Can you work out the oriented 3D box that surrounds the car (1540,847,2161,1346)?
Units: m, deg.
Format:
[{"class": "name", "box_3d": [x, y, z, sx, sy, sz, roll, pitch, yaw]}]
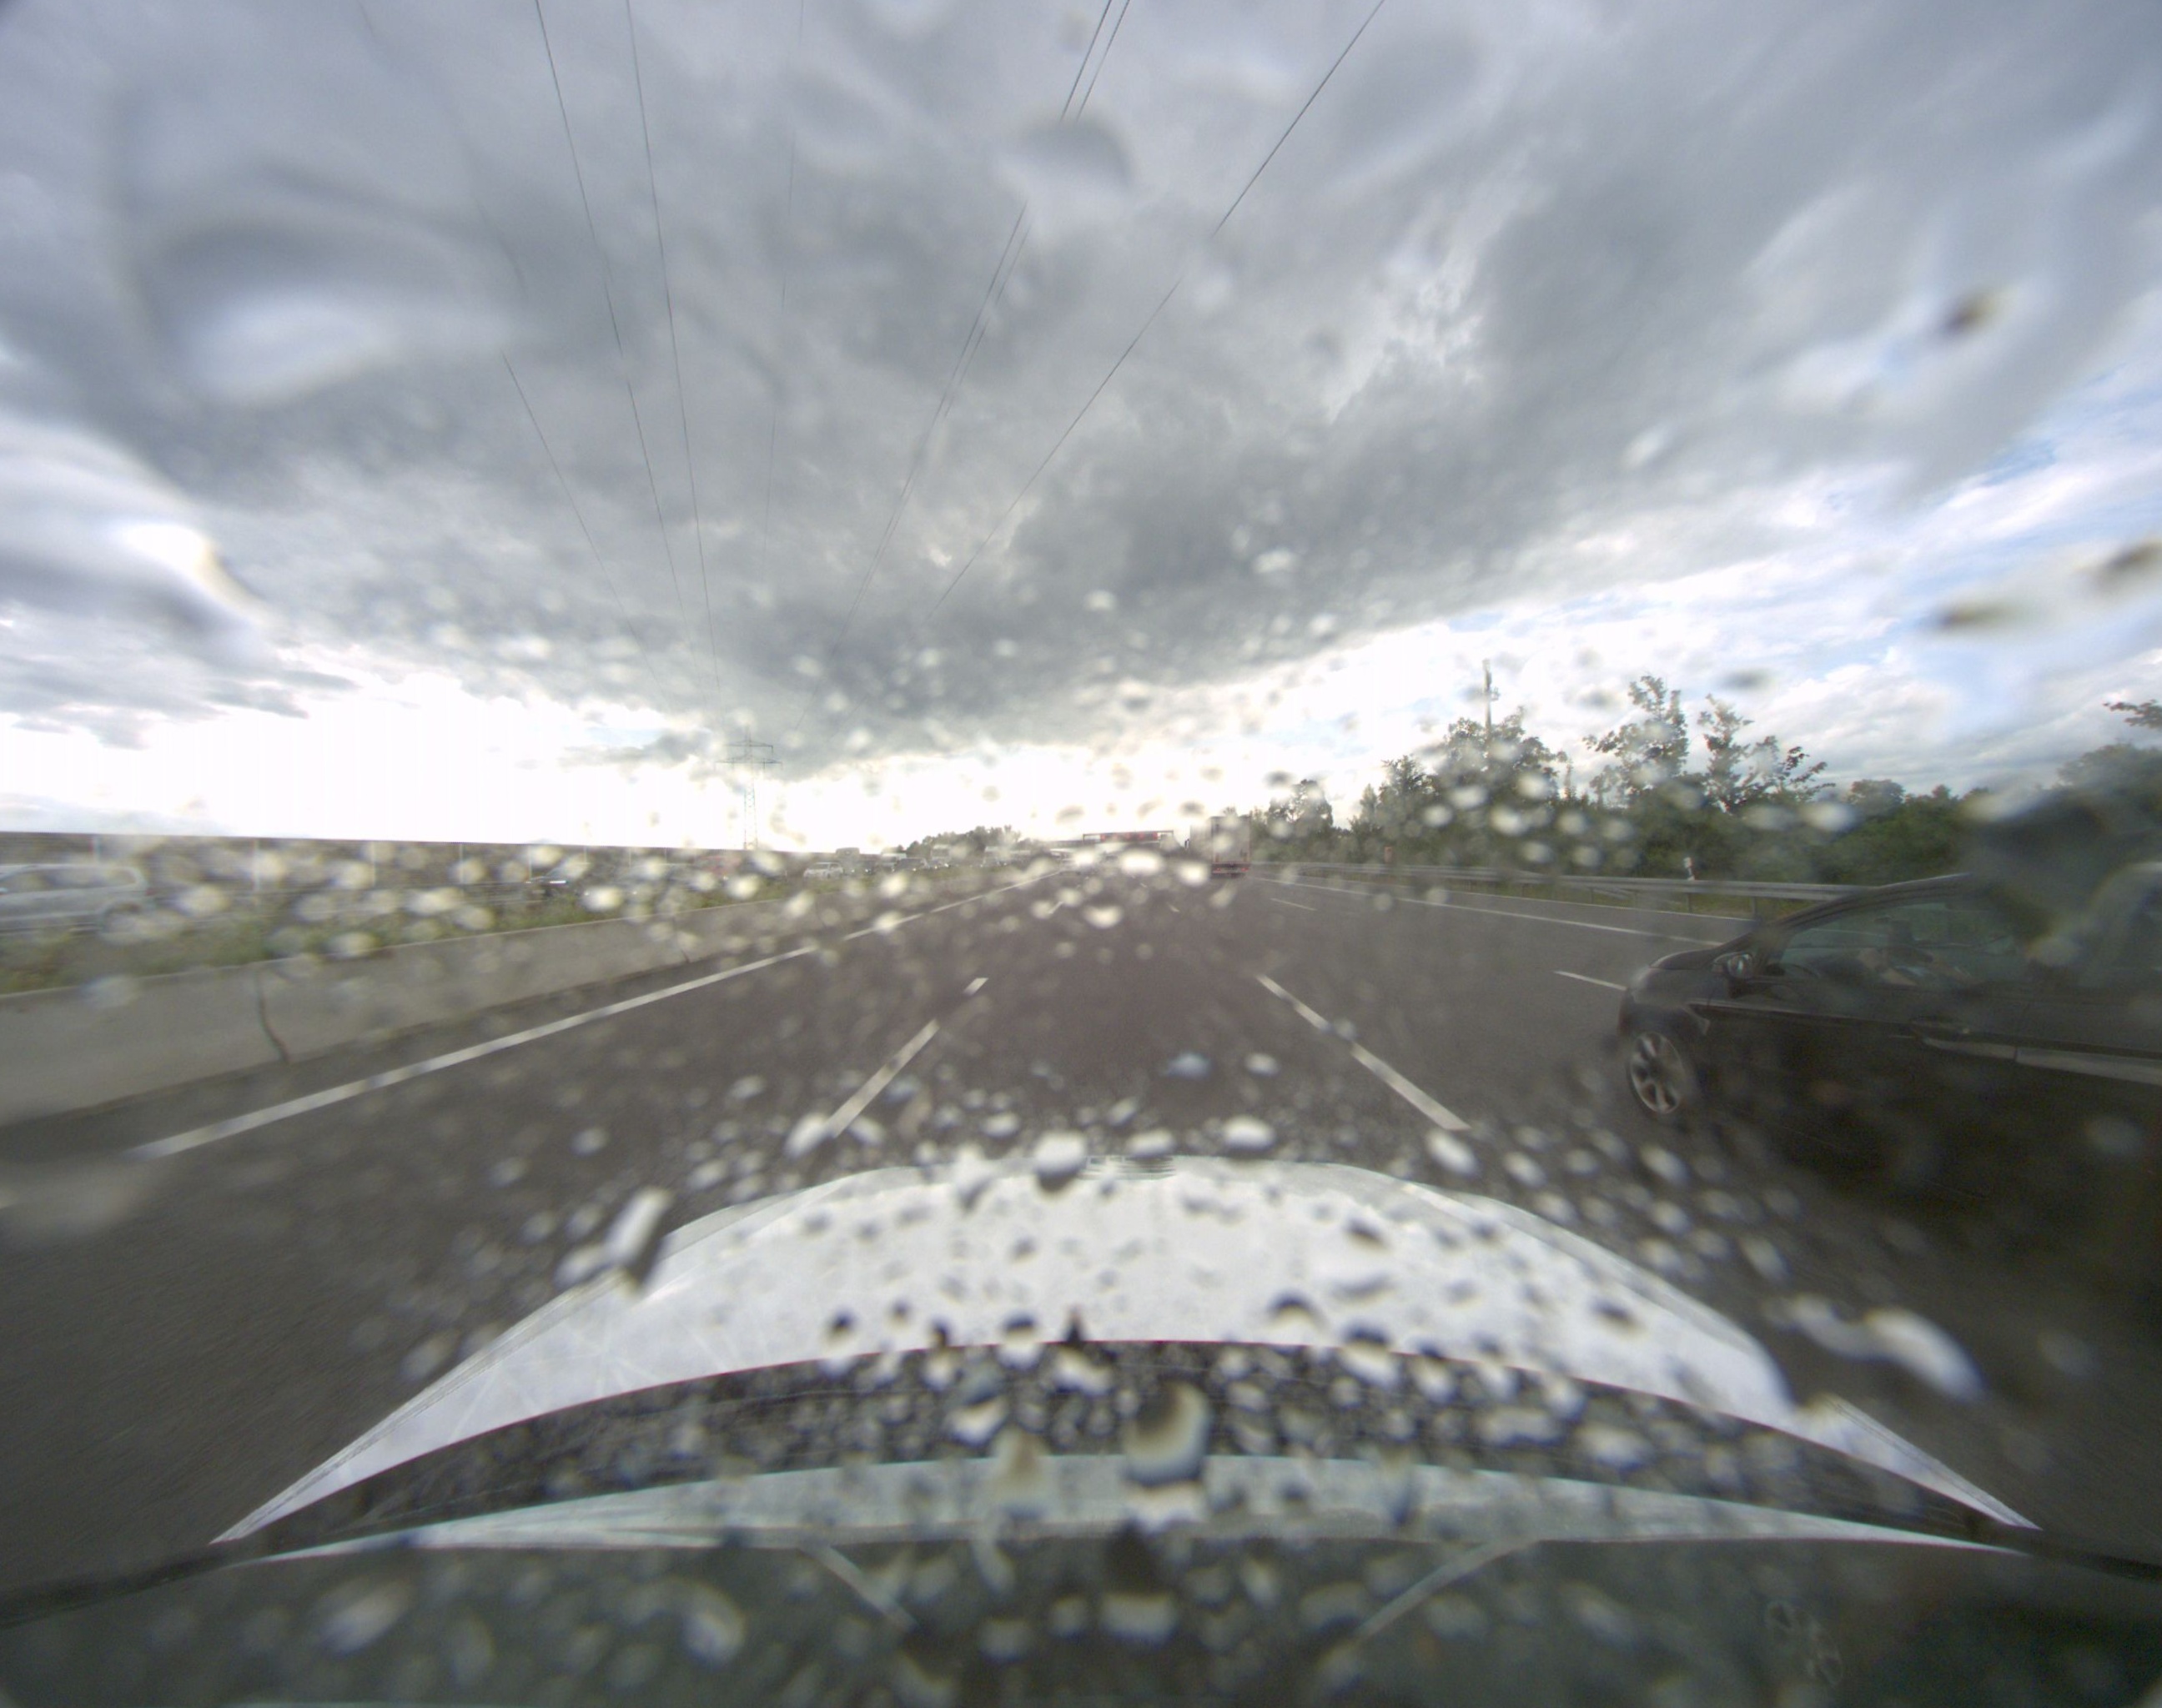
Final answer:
[{"class": "car", "box_3d": [3.821, 0.702, 3.952, 1.442, 1.441, 3.164, -1, 0, 1]}]

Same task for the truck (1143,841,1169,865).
[{"class": "truck", "box_3d": [13.824, -0.232, 152.037, 4.164, 4.288, 12.618, 0, 0, 2]}]

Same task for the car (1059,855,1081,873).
[{"class": "car", "box_3d": [-0.950, 0.862, 71.624, 1.766, 1.441, 3.875, -1, 0, 1]}]

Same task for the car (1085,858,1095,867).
[{"class": "car", "box_3d": [1.536, 1.447, 141.923, 1.766, 1.441, 4.055, -1, 0, 1]}]

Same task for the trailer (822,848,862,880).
[{"class": "trailer", "box_3d": [-22.370, 0.913, 76.375, 2.240, 2.962, 4.901, 0, 0, 1]}]

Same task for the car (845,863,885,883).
[{"class": "car", "box_3d": [-15.817, 1.374, 59.931, 1.759, 1.454, 4.234, 0, 0, 1]}]

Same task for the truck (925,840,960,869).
[{"class": "truck", "box_3d": [-21.452, 0.062, 126.580, 3.646, 4.319, 8.241, 0, 0, 2]}]

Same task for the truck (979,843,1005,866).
[{"class": "truck", "box_3d": [-15.905, 0.049, 146.772, 3.645, 4.048, 6.529, 0, 0, 3]}]

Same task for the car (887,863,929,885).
[{"class": "car", "box_3d": [-12.117, 1.387, 57.350, 1.820, 1.454, 4.944, 0, 0, 1]}]

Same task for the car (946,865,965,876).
[{"class": "car", "box_3d": [-17.109, 2.215, 110.983, 1.781, 1.469, 4.565, 0, 0, 1]}]

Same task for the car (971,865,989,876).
[{"class": "car", "box_3d": [-13.544, 2.215, 109.920, 1.781, 1.454, 4.565, 0, 0, 1]}]

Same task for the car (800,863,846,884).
[{"class": "car", "box_3d": [-18.940, 1.383, 59.996, 1.759, 1.454, 4.944, 0, 0, 1]}]

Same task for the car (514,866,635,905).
[{"class": "car", "box_3d": [-20.429, 1.222, 33.143, 1.759, 1.454, 4.944, 0, 0, 1]}]

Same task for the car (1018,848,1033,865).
[{"class": "car", "box_3d": [-13.378, 0.658, 196.995, 2.971, 4.150, 6.045, 0, 0, 2]}]

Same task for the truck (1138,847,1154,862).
[{"class": "truck", "box_3d": [18.279, 0.105, 231.127, 4.226, 4.176, 11.997, 0, 0, 3]}]

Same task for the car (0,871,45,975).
[{"class": "car", "box_3d": [-16.919, 1.019, 9.983, 1.759, 1.537, 5.161, 0, 0, 1]}]

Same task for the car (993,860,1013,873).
[{"class": "car", "box_3d": [-12.802, 2.008, 134.053, 2.270, 1.968, 6.092, 0, 0, 4]}]

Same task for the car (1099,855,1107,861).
[{"class": "car", "box_3d": [5.772, 1.073, 213.345, 1.765, 1.441, 4.058, -1, 0, 3]}]

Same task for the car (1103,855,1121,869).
[{"class": "car", "box_3d": [3.239, 0.813, 85.766, 1.766, 1.441, 4.056, -1, 0, 1]}]

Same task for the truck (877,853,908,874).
[{"class": "truck", "box_3d": [-22.184, 1.086, 96.199, 2.094, 2.451, 6.266, 0, 0, 2]}]

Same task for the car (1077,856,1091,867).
[{"class": "car", "box_3d": [0.417, 0.971, 106.785, 1.766, 1.441, 4.056, -1, 0, 1]}]

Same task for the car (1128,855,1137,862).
[{"class": "car", "box_3d": [11.742, 1.066, 185.757, 1.828, 1.441, 4.058, -1, 0, 3]}]

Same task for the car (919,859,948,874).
[{"class": "car", "box_3d": [-14.972, 1.245, 82.762, 1.958, 1.454, 4.944, 0, 0, 1]}]

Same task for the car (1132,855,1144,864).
[{"class": "car", "box_3d": [9.142, 0.918, 131.130, 1.828, 1.441, 4.058, -1, 0, 3]}]

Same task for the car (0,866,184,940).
[{"class": "car", "box_3d": [-24.844, 1.104, 19.242, 1.759, 1.610, 4.944, 0, 0, 1]}]

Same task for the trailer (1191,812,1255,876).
[{"class": "trailer", "box_3d": [9.979, -0.627, 58.865, 2.949, 4.020, 14.130, -1, 0, 3]}]

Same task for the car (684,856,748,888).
[{"class": "car", "box_3d": [-23.209, 1.097, 52.009, 1.759, 1.967, 4.944, 0, 0, 1]}]

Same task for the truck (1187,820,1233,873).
[{"class": "truck", "box_3d": [10.374, -0.584, 66.003, 2.949, 4.020, 6.594, -1, 0, 3]}]

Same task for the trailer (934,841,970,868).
[{"class": "trailer", "box_3d": [-21.204, 0.111, 134.653, 3.646, 4.237, 12.472, 0, 0, 2]}]

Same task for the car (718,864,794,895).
[{"class": "car", "box_3d": [-16.313, 1.253, 41.136, 1.759, 1.454, 4.944, 0, 0, 1]}]

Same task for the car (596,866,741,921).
[{"class": "car", "box_3d": [-12.348, 1.132, 24.845, 1.759, 1.454, 5.086, 0, 0, 1]}]
